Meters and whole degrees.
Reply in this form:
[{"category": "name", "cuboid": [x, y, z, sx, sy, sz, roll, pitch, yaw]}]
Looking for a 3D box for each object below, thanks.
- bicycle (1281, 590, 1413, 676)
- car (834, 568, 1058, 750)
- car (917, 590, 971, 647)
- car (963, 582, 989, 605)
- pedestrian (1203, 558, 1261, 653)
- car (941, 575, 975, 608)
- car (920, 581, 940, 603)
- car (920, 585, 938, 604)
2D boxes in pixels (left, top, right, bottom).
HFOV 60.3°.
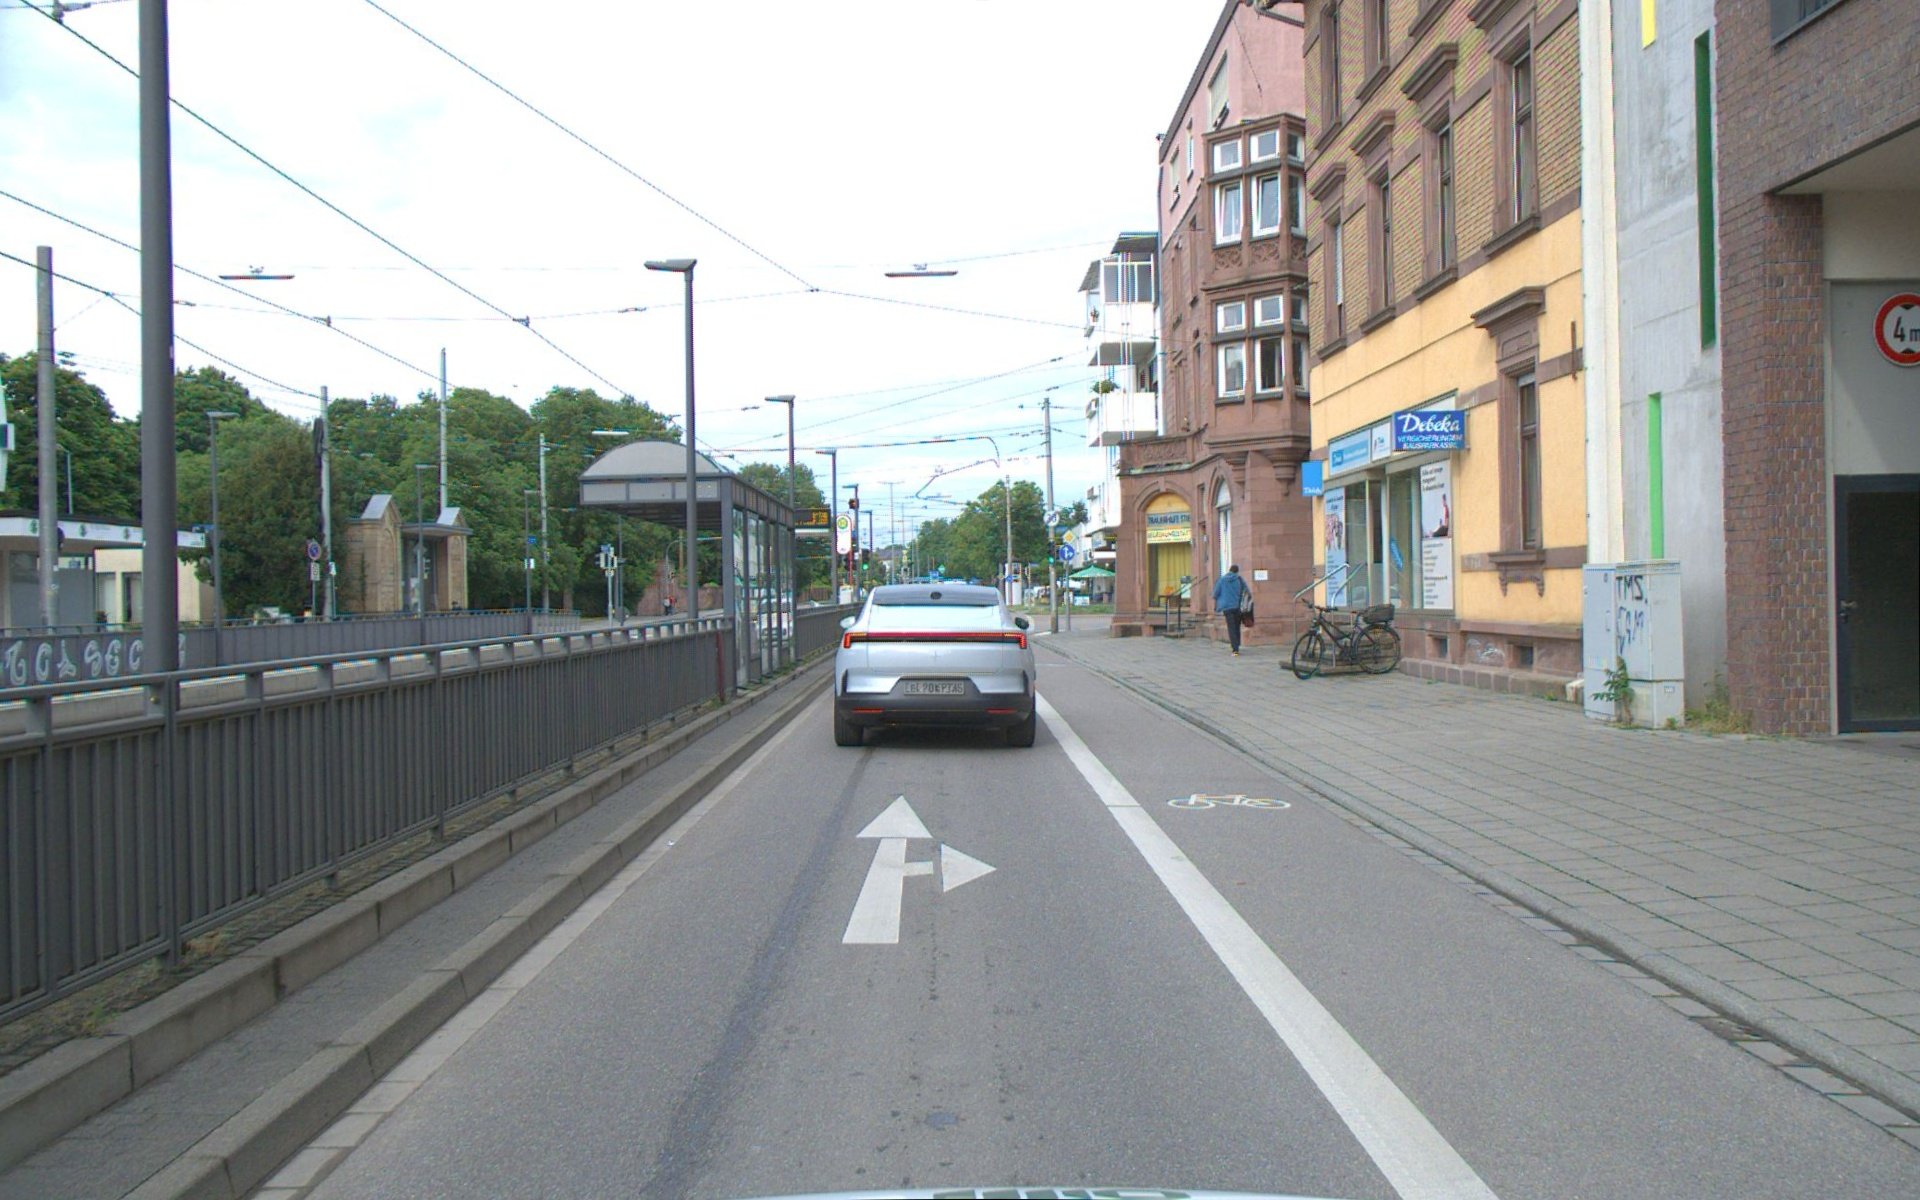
[{"category": "bicycle", "cuboid": [5.722, 0.482, 24.502, 1.742, 1.149, 0.642, -4, 0, -2]}, {"category": "car", "cuboid": [-0.269, 0.537, 16.674, 1.960, 1.608, 3.996, 0, -1, -5]}, {"category": "car", "cuboid": [-0.513, 0.578, 52.411, 1.647, 1.717, 3.823, 0, 0, 0]}, {"category": "car", "cuboid": [1.796, -0.711, 183.462, 2.750, 2.549, 5.721, 0, 0, -1]}, {"category": "pedestrian", "cuboid": [5.625, 0.105, 34.223, 0.941, 1.882, 0.975, -3, 1, -1]}, {"category": "car", "cuboid": [-0.170, -0.626, 125.750, 2.182, 2.444, 5.118, 0, 0, -4]}, {"category": "car", "cuboid": [-2.902, -0.762, 160.250, 1.953, 2.049, 3.999, -1, 0, -1]}, {"category": "car", "cuboid": [-3.482, -0.595, 185.571, 1.953, 2.049, 3.999, -1, 0, -1]}]
